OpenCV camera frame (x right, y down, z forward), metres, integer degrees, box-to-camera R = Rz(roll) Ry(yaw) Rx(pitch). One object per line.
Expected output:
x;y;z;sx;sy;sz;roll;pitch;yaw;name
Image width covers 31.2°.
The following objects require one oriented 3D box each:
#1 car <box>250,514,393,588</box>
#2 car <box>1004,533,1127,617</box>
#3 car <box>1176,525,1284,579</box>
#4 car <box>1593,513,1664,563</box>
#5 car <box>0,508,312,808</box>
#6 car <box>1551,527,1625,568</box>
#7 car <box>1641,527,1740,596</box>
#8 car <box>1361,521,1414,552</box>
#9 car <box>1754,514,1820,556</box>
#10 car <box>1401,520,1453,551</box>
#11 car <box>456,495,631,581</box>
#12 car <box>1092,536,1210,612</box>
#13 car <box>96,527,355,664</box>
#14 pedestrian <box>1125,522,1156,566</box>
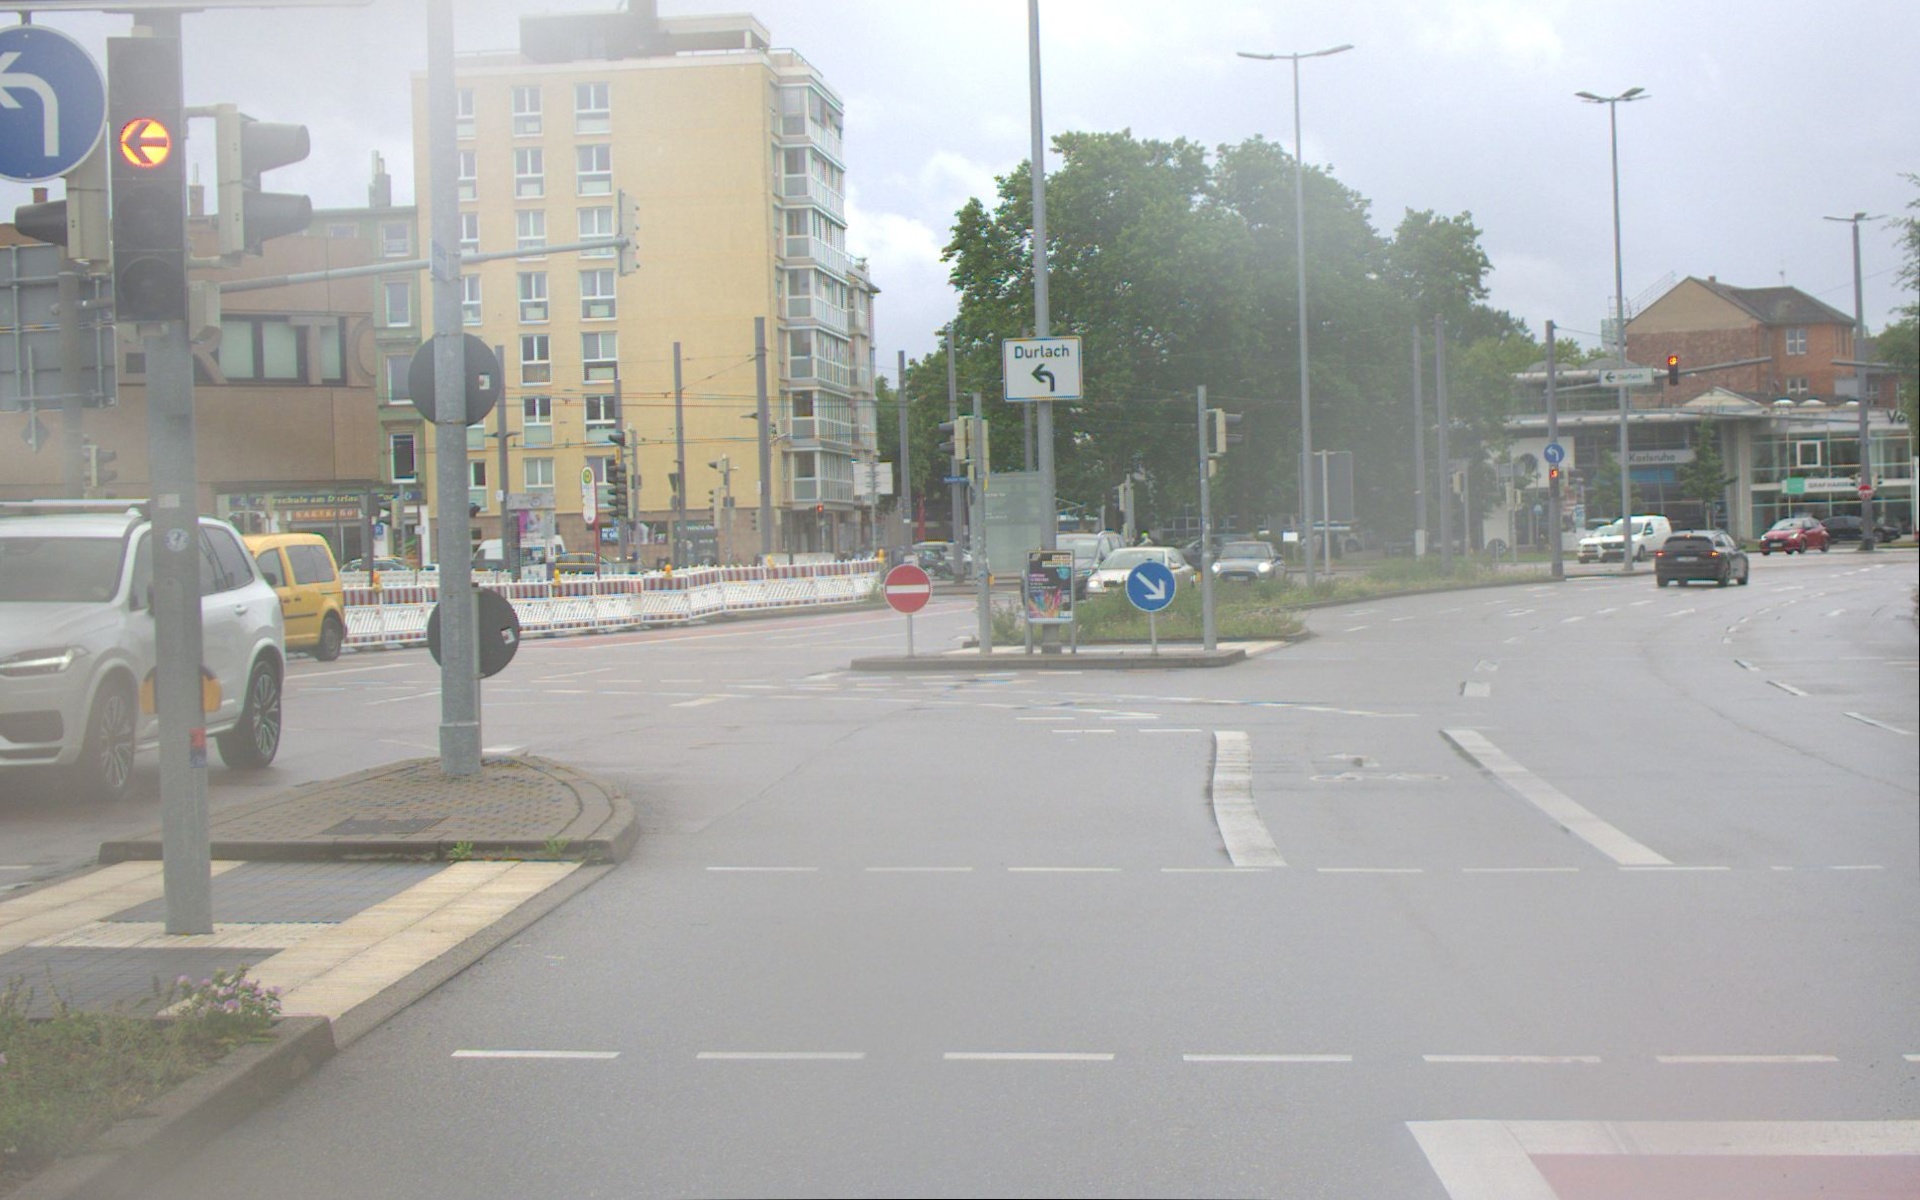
-26.601;-2.054;143.351;5.351;2.877;2.339;-2;1;3;car
2.478;-0.596;79.679;1.695;1.684;4.180;-2;3;18;car
7.033;-1.258;89.316;1.774;1.371;4.116;0;1;20;car
26.137;-2.424;134.368;1.792;1.852;4.154;-1;1;25;car
-5.801;0.261;22.224;1.826;1.676;5.165;1;2;5;car
26.494;-2.223;144.861;1.793;1.637;4.390;-1;1;28;car
18.673;-1.001;87.751;1.792;1.637;4.155;-1;1;22;car
23.872;-3.541;191.690;1.792;1.637;4.154;-1;1;24;car
33.861;-2.672;140.719;1.792;1.637;4.041;-1;1;26;car
25.942;-3.577;190.848;1.792;1.637;4.154;-1;1;24;car
-17.234;-2.586;142.642;6.742;3.368;2.809;-2;1;3;car
4.152;-0.579;74.067;1.695;1.410;4.181;-2;3;15;car
-9.810;-0.096;46.241;1.706;1.700;4.150;-1;1;14;car
7.580;-2.355;144.475;1.092;1.807;1.119;-2;1;-4;pedestrian
